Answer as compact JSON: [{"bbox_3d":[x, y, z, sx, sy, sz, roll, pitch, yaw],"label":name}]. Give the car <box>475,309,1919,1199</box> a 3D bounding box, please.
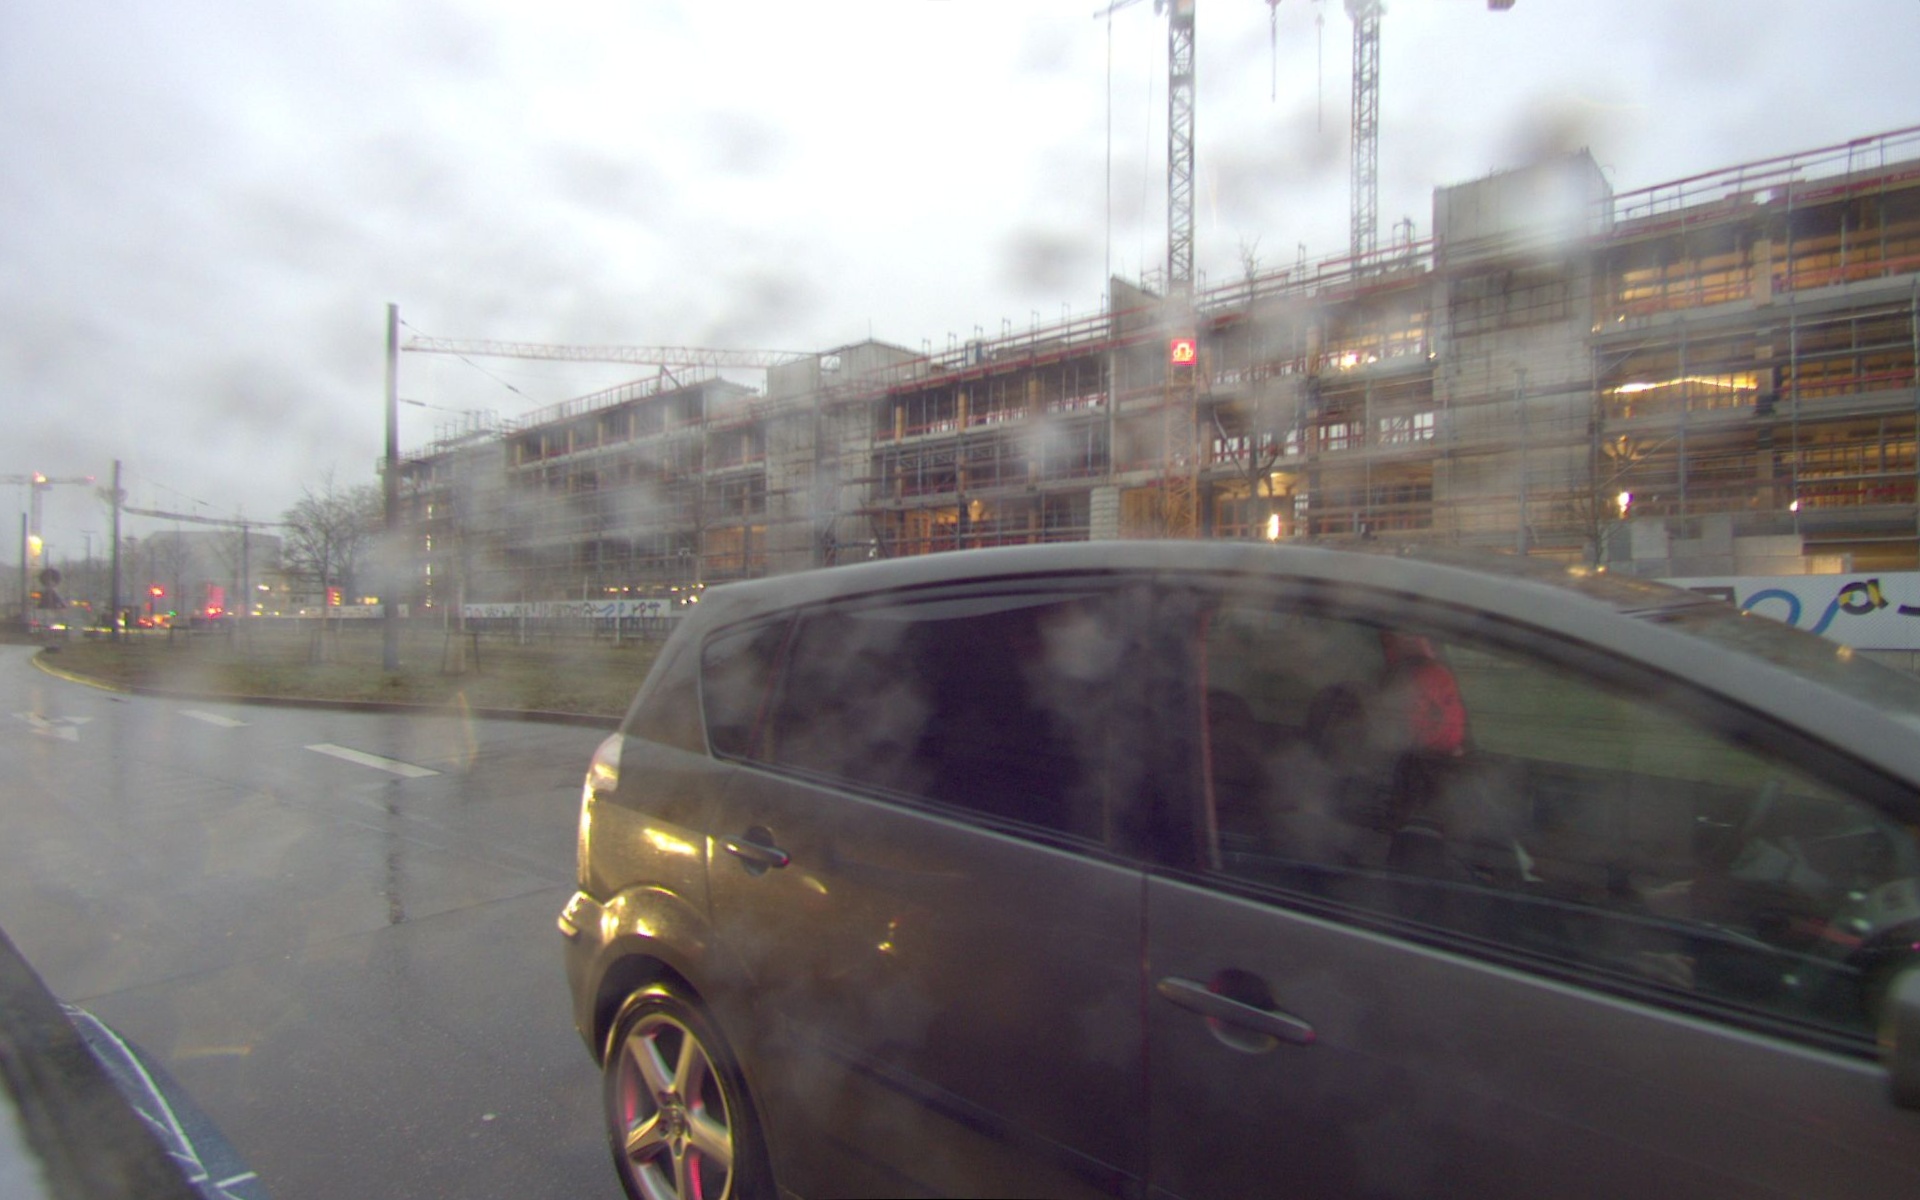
[{"bbox_3d":[0.920,0.589,1.964,4.131,1.659,1.793,-1,-1,39],"label":"car"}]
